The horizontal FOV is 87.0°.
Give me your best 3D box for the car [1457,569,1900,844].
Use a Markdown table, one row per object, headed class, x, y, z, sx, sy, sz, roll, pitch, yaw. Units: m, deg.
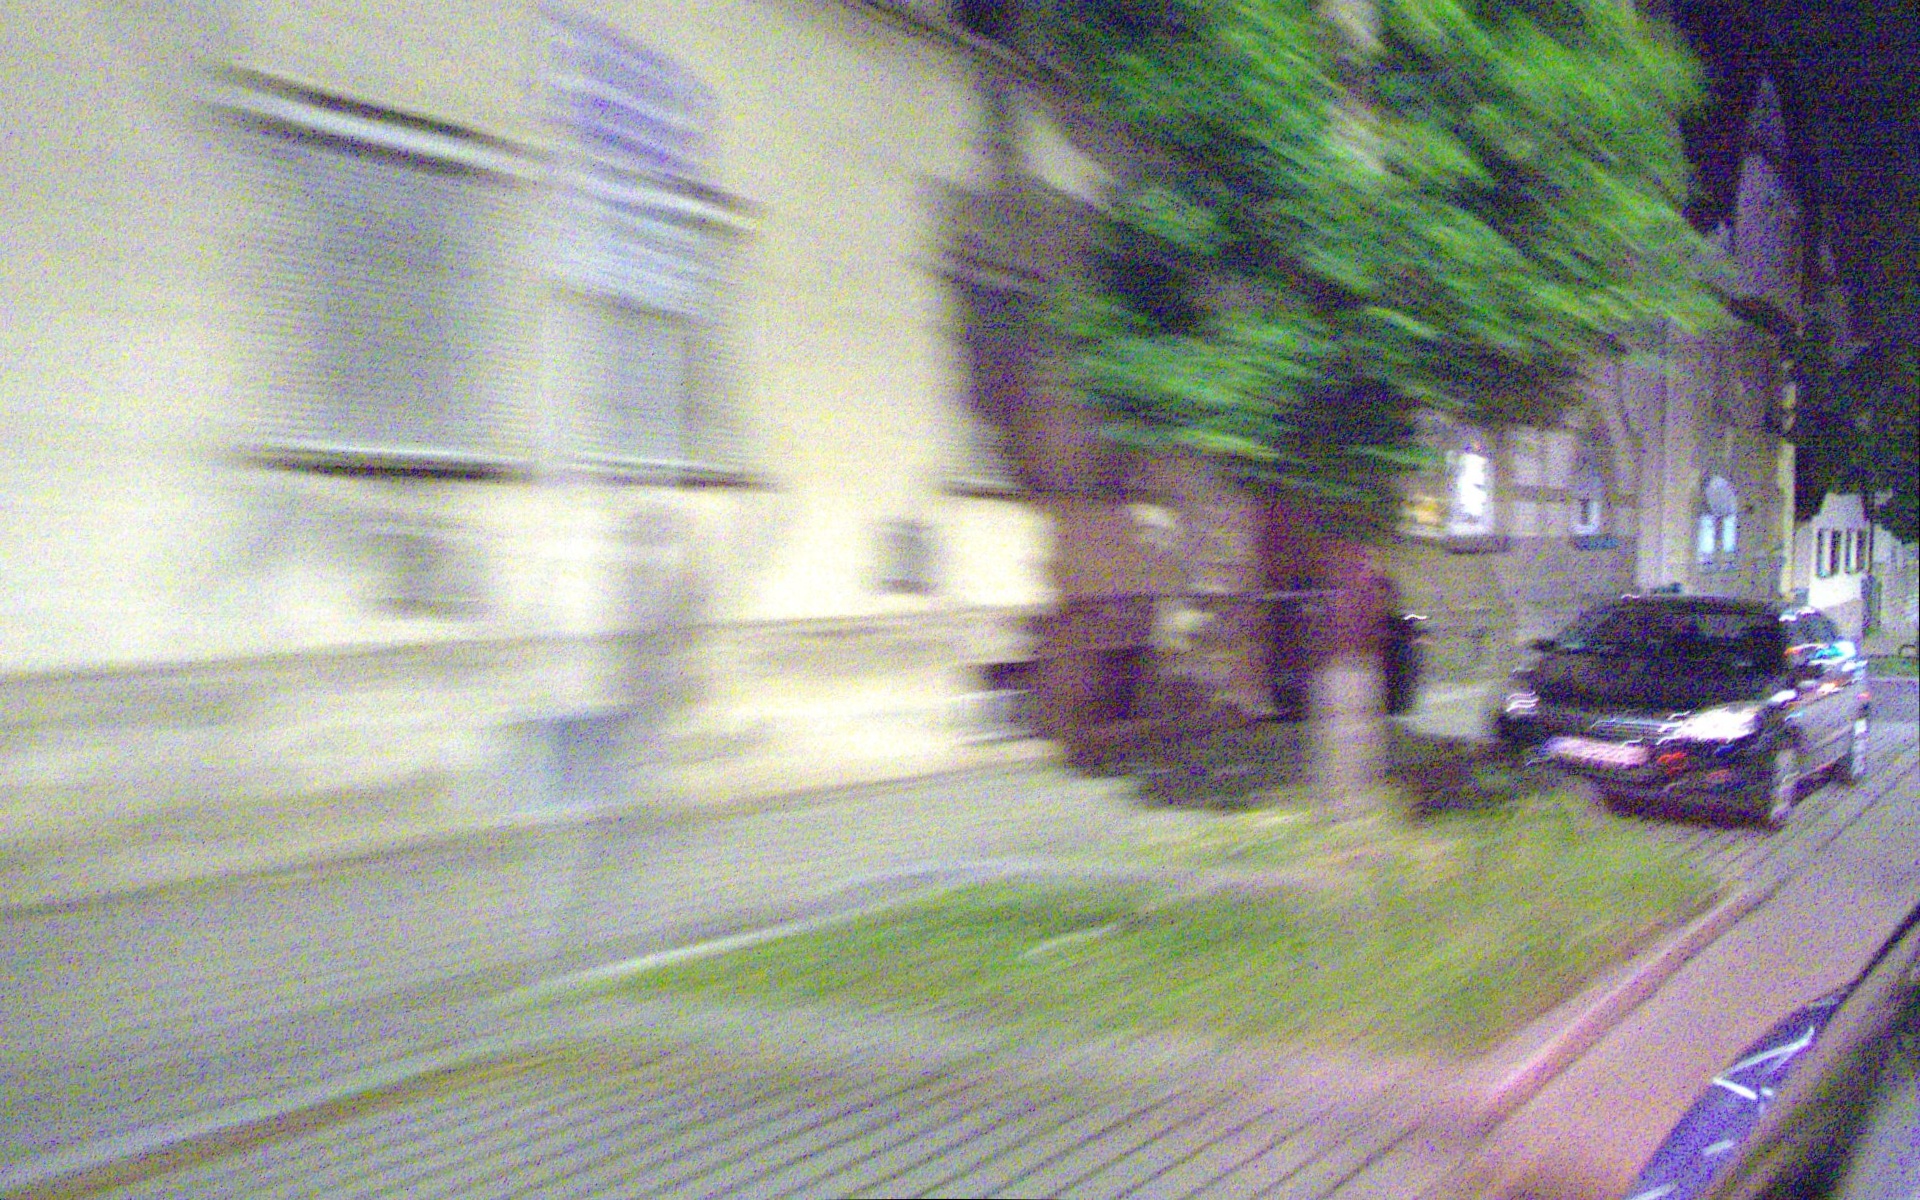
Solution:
| class | x | y | z | sx | sy | sz | roll | pitch | yaw |
| --- | --- | --- | --- | --- | --- | --- | --- | --- | --- |
| car | 5.569 | 0.584 | 7.651 | 4.008 | 1.494 | 1.767 | 0 | 3 | -41 |
